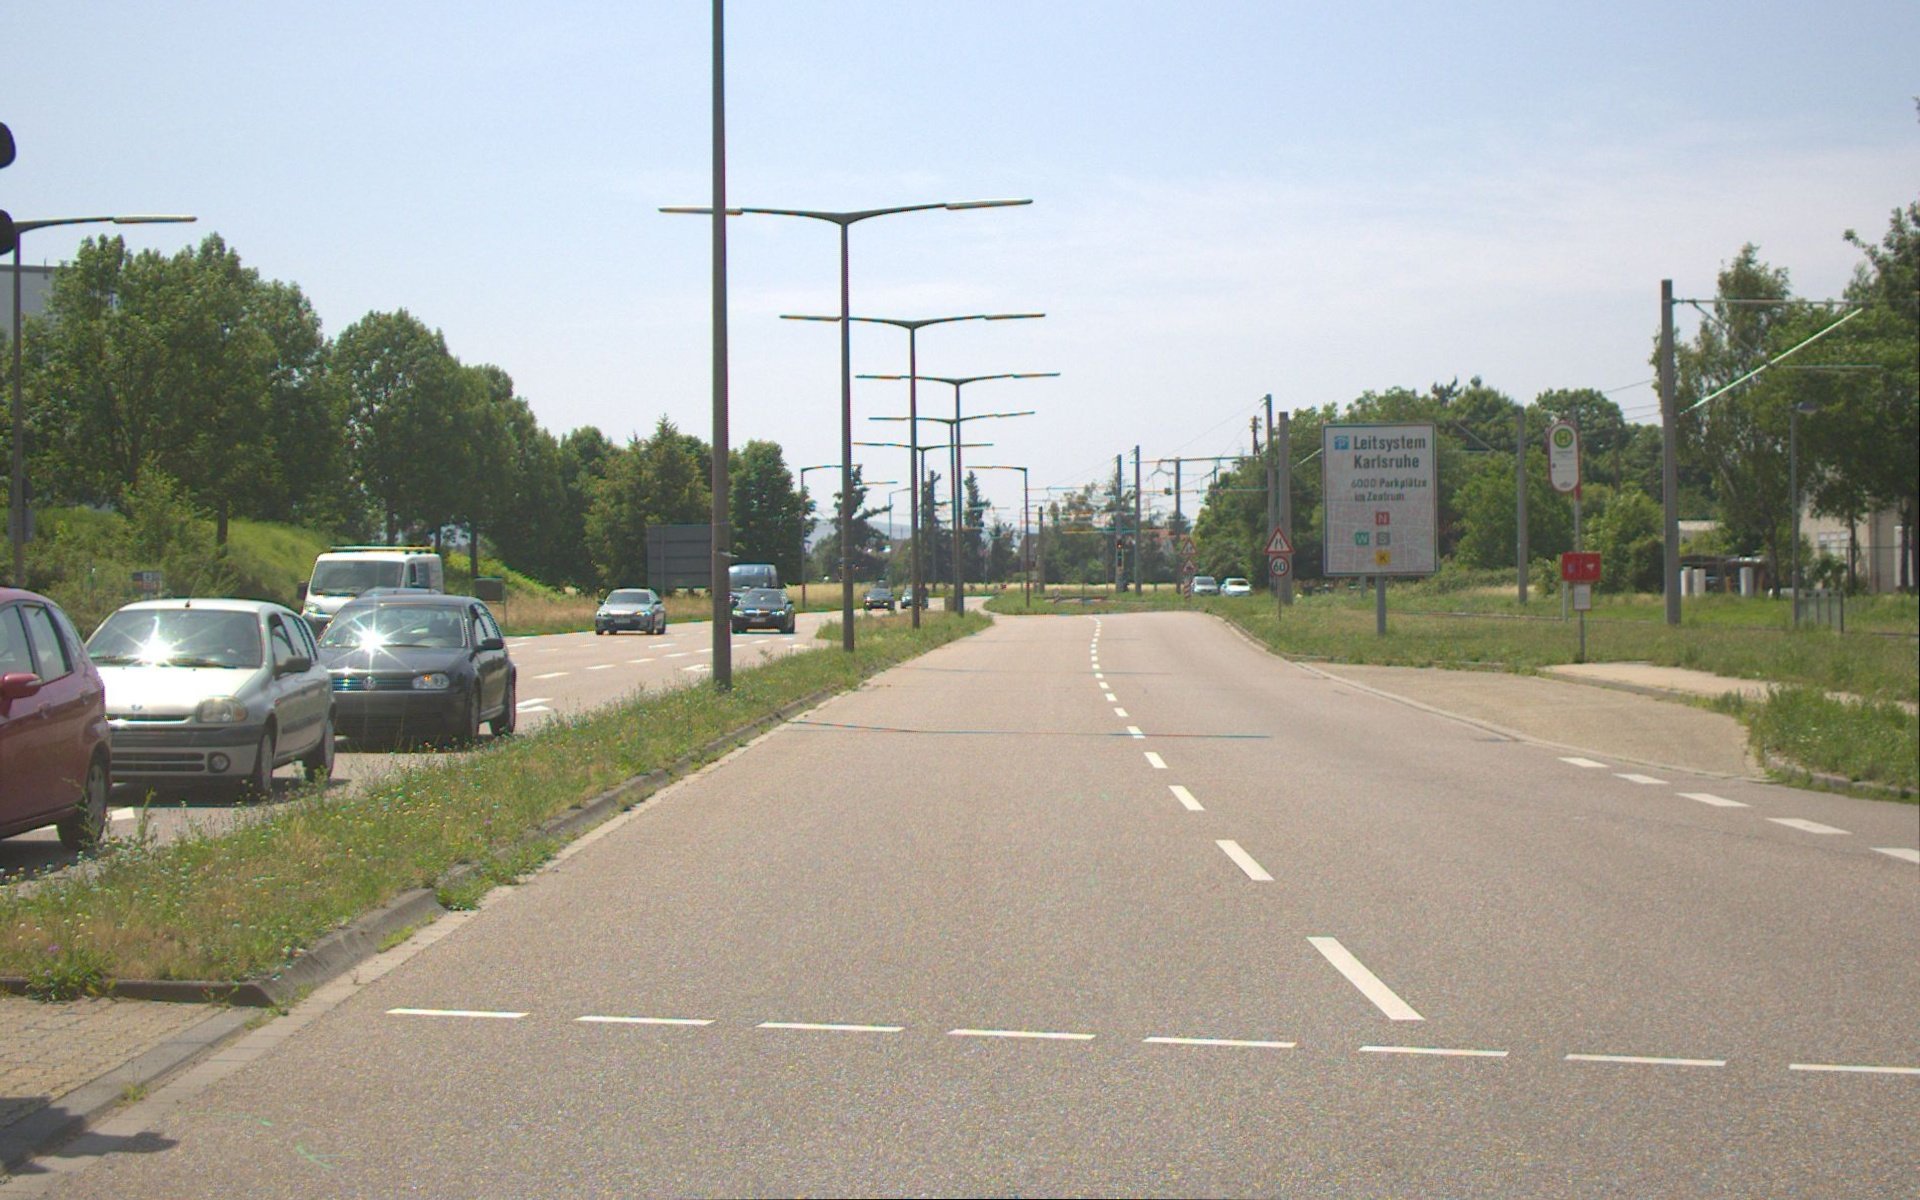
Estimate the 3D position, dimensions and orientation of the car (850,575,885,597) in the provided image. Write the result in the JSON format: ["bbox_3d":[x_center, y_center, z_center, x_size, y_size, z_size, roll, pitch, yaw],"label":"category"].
[{"bbox_3d":[-6.134,-0.931,228.044,1.993,1.355,4.665,-2,0,2],"label":"car"}]

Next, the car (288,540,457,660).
[{"bbox_3d":[-11.653,-0.007,68.546,2.249,2.265,5.448,1,0,2],"label":"car"}]

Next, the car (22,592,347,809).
[{"bbox_3d":[-5.613,0.678,25.283,1.560,1.418,3.854,0,1,-1],"label":"car"}]

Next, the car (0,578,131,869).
[{"bbox_3d":[-5.733,0.626,18.401,1.658,1.485,4.000,0,0,-1],"label":"car"}]

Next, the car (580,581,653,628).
[{"bbox_3d":[-10.923,0.112,109.573,1.831,1.444,4.851,-1,0,0],"label":"car"}]

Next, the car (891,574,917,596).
[{"bbox_3d":[-3.868,-1.024,239.904,1.692,1.487,4.000,-1,0,1],"label":"car"}]

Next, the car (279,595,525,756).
[{"bbox_3d":[-5.277,0.675,32.971,1.676,1.429,4.191,0,0,0],"label":"car"}]

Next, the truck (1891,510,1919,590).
[{"bbox_3d":[37.042,-1.904,124.591,5.839,2.834,2.320,-2,0,-6],"label":"truck"}]

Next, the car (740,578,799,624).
[{"bbox_3d":[-6.237,0.016,112.983,1.731,1.453,4.565,-1,0,-1],"label":"car"}]
